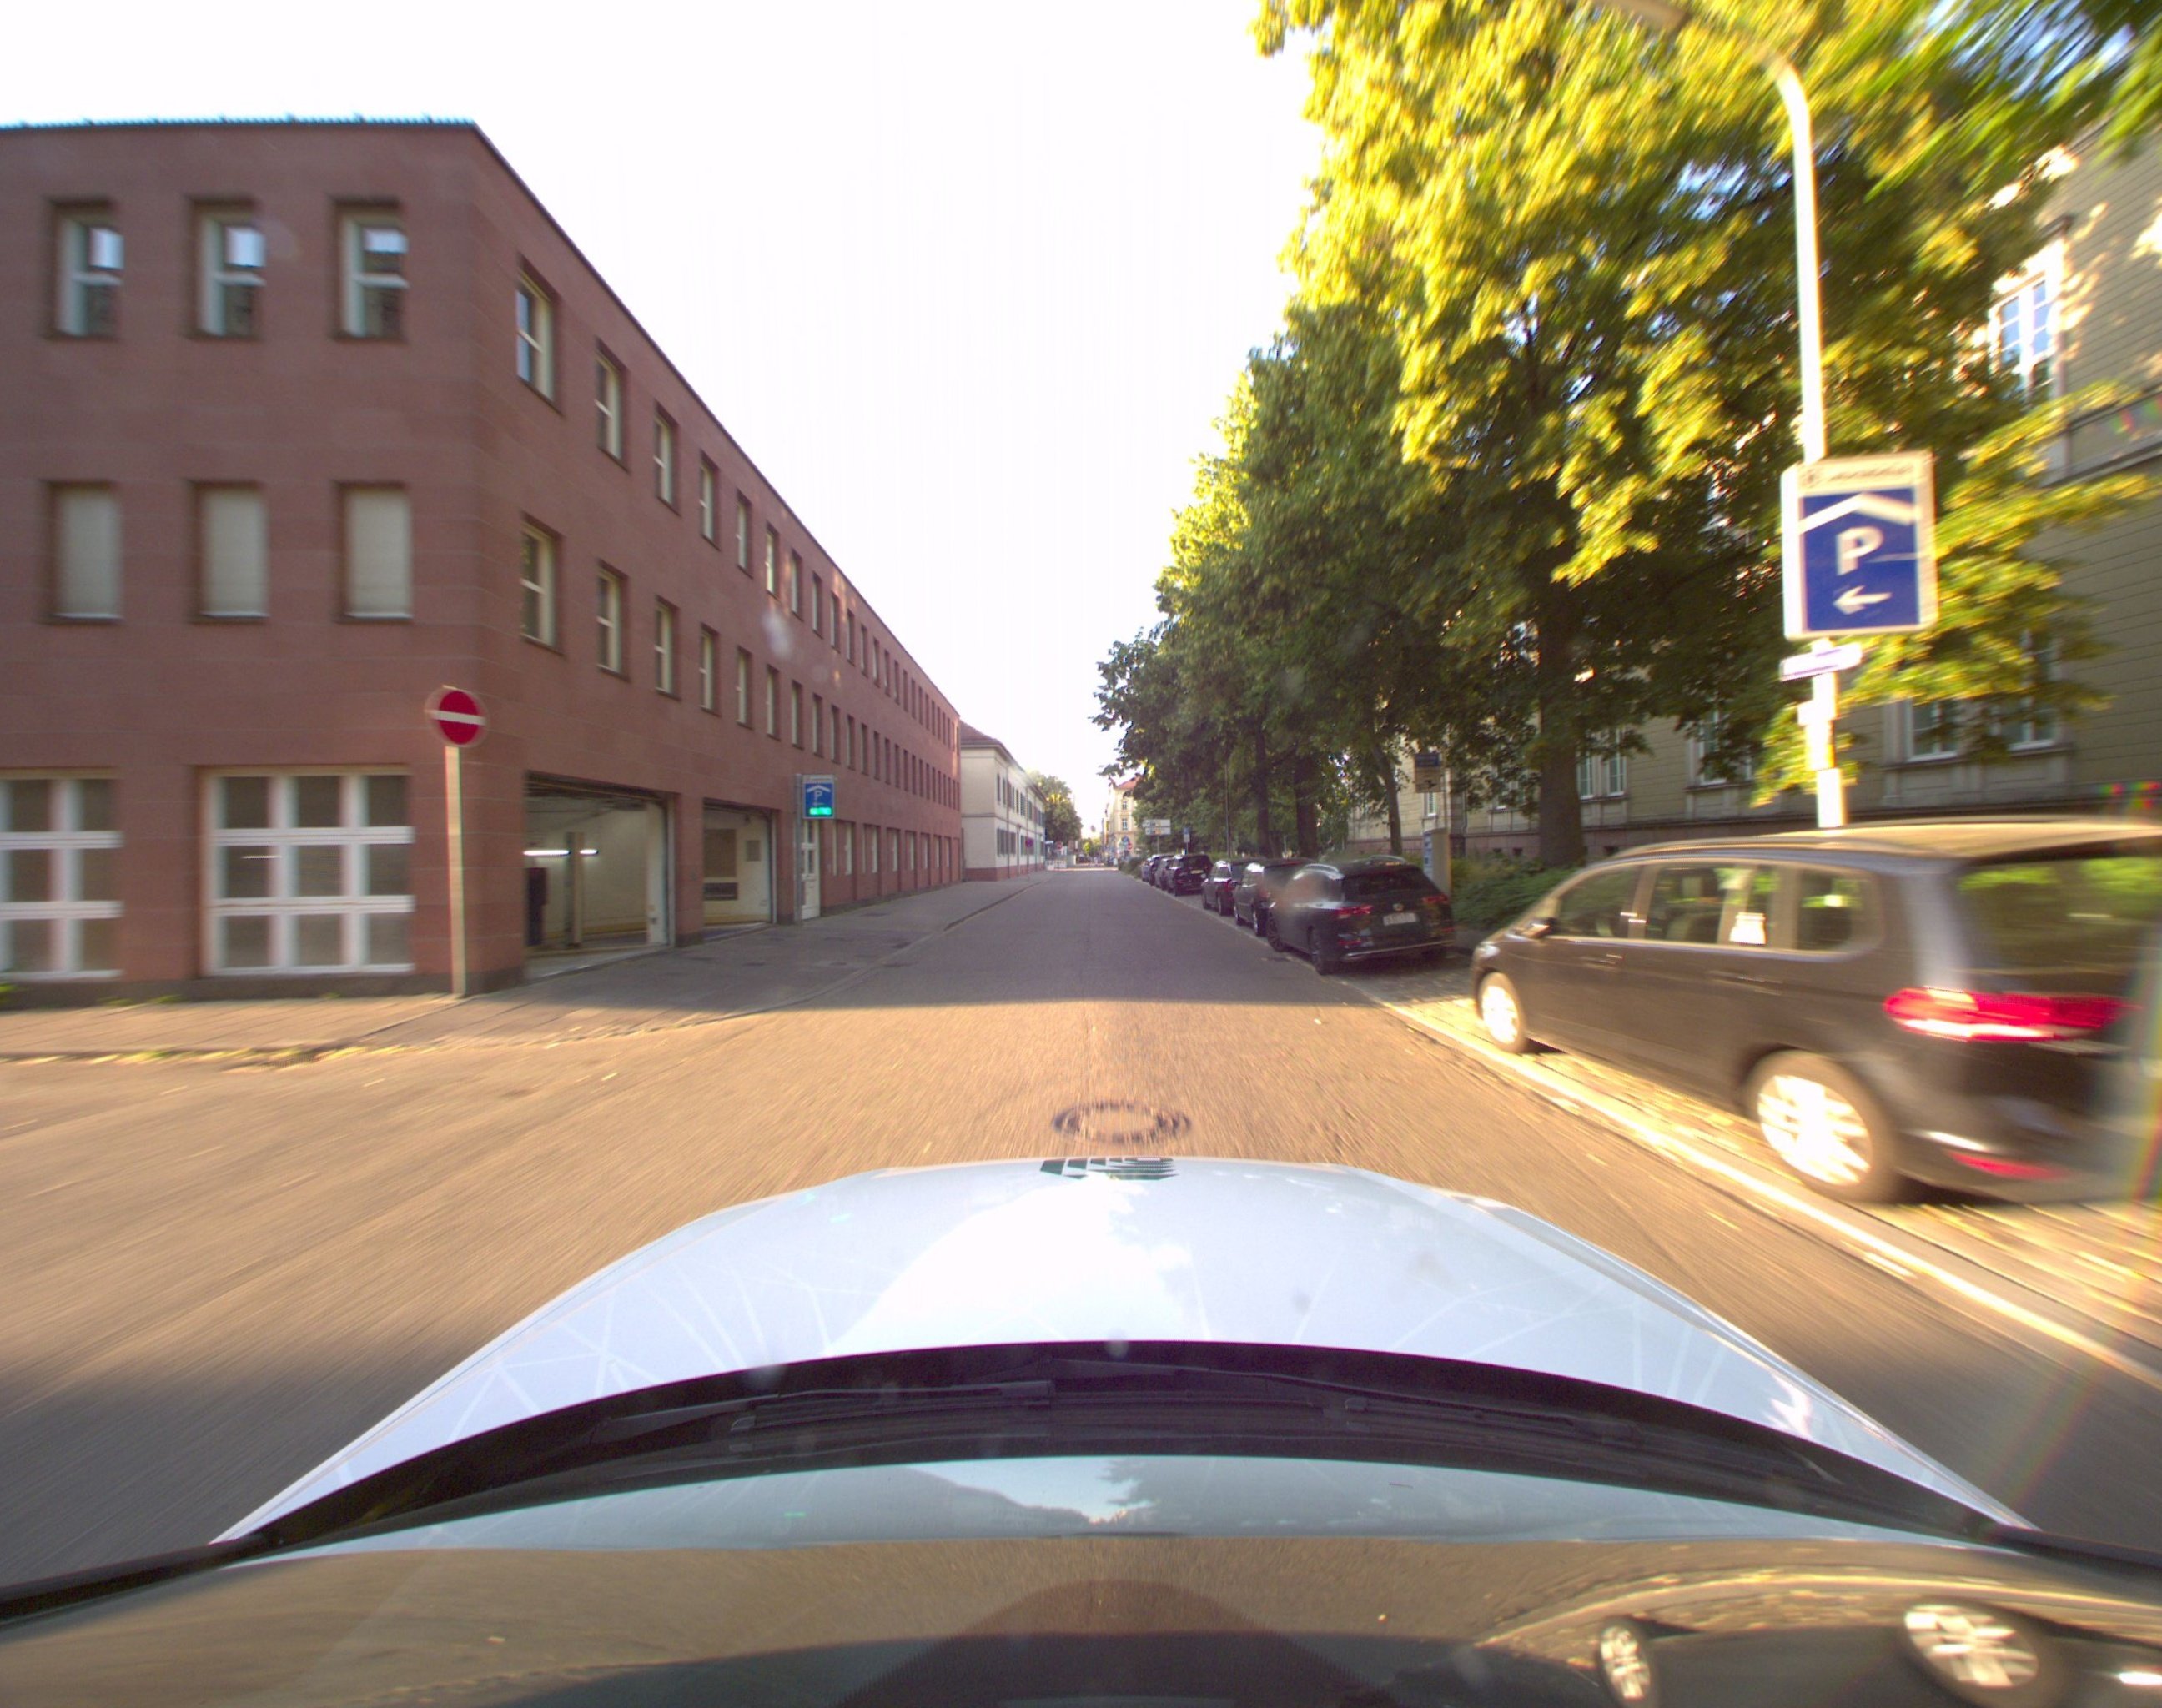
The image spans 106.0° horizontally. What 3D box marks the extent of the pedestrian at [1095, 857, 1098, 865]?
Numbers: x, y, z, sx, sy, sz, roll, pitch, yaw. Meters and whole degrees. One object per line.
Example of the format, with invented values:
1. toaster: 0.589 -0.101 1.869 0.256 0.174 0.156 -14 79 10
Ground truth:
1. pedestrian: 3.005 1.362 156.963 0.655 1.636 0.745 -1 -1 1

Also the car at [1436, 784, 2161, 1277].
1. car: 4.070 0.631 5.078 1.718 1.682 4.499 -2 -1 0

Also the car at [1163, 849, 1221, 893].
1. car: 4.545 0.707 33.896 1.801 1.651 4.418 -2 -1 0

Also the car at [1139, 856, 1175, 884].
1. car: 4.708 0.975 51.003 1.719 1.488 4.608 -5 -1 -1

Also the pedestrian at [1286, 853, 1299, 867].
1. pedestrian: 20.969 0.631 80.811 0.918 1.347 0.880 -1 -1 -15

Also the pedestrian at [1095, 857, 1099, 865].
1. pedestrian: 3.019 1.347 155.022 0.655 1.617 0.745 -1 -1 1

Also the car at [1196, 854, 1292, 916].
1. car: 4.366 0.811 22.481 1.729 1.506 4.521 -2 -1 0

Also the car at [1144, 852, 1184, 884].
1. car: 4.501 0.772 44.842 1.718 1.651 4.712 -2 -1 0

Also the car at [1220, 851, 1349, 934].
1. car: 4.247 0.776 17.650 1.718 1.534 4.189 -2 -1 0

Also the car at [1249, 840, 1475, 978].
1. car: 3.941 0.724 12.342 1.718 1.533 4.622 -6 -1 0

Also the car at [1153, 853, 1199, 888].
1. car: 4.481 0.773 38.923 1.718 1.538 4.189 -2 -1 0

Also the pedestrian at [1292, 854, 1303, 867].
1. pedestrian: 21.631 0.656 81.445 0.760 1.347 0.783 -1 -1 -16

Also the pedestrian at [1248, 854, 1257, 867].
1. pedestrian: 16.507 0.616 78.383 0.656 1.191 0.800 -2 -1 28
